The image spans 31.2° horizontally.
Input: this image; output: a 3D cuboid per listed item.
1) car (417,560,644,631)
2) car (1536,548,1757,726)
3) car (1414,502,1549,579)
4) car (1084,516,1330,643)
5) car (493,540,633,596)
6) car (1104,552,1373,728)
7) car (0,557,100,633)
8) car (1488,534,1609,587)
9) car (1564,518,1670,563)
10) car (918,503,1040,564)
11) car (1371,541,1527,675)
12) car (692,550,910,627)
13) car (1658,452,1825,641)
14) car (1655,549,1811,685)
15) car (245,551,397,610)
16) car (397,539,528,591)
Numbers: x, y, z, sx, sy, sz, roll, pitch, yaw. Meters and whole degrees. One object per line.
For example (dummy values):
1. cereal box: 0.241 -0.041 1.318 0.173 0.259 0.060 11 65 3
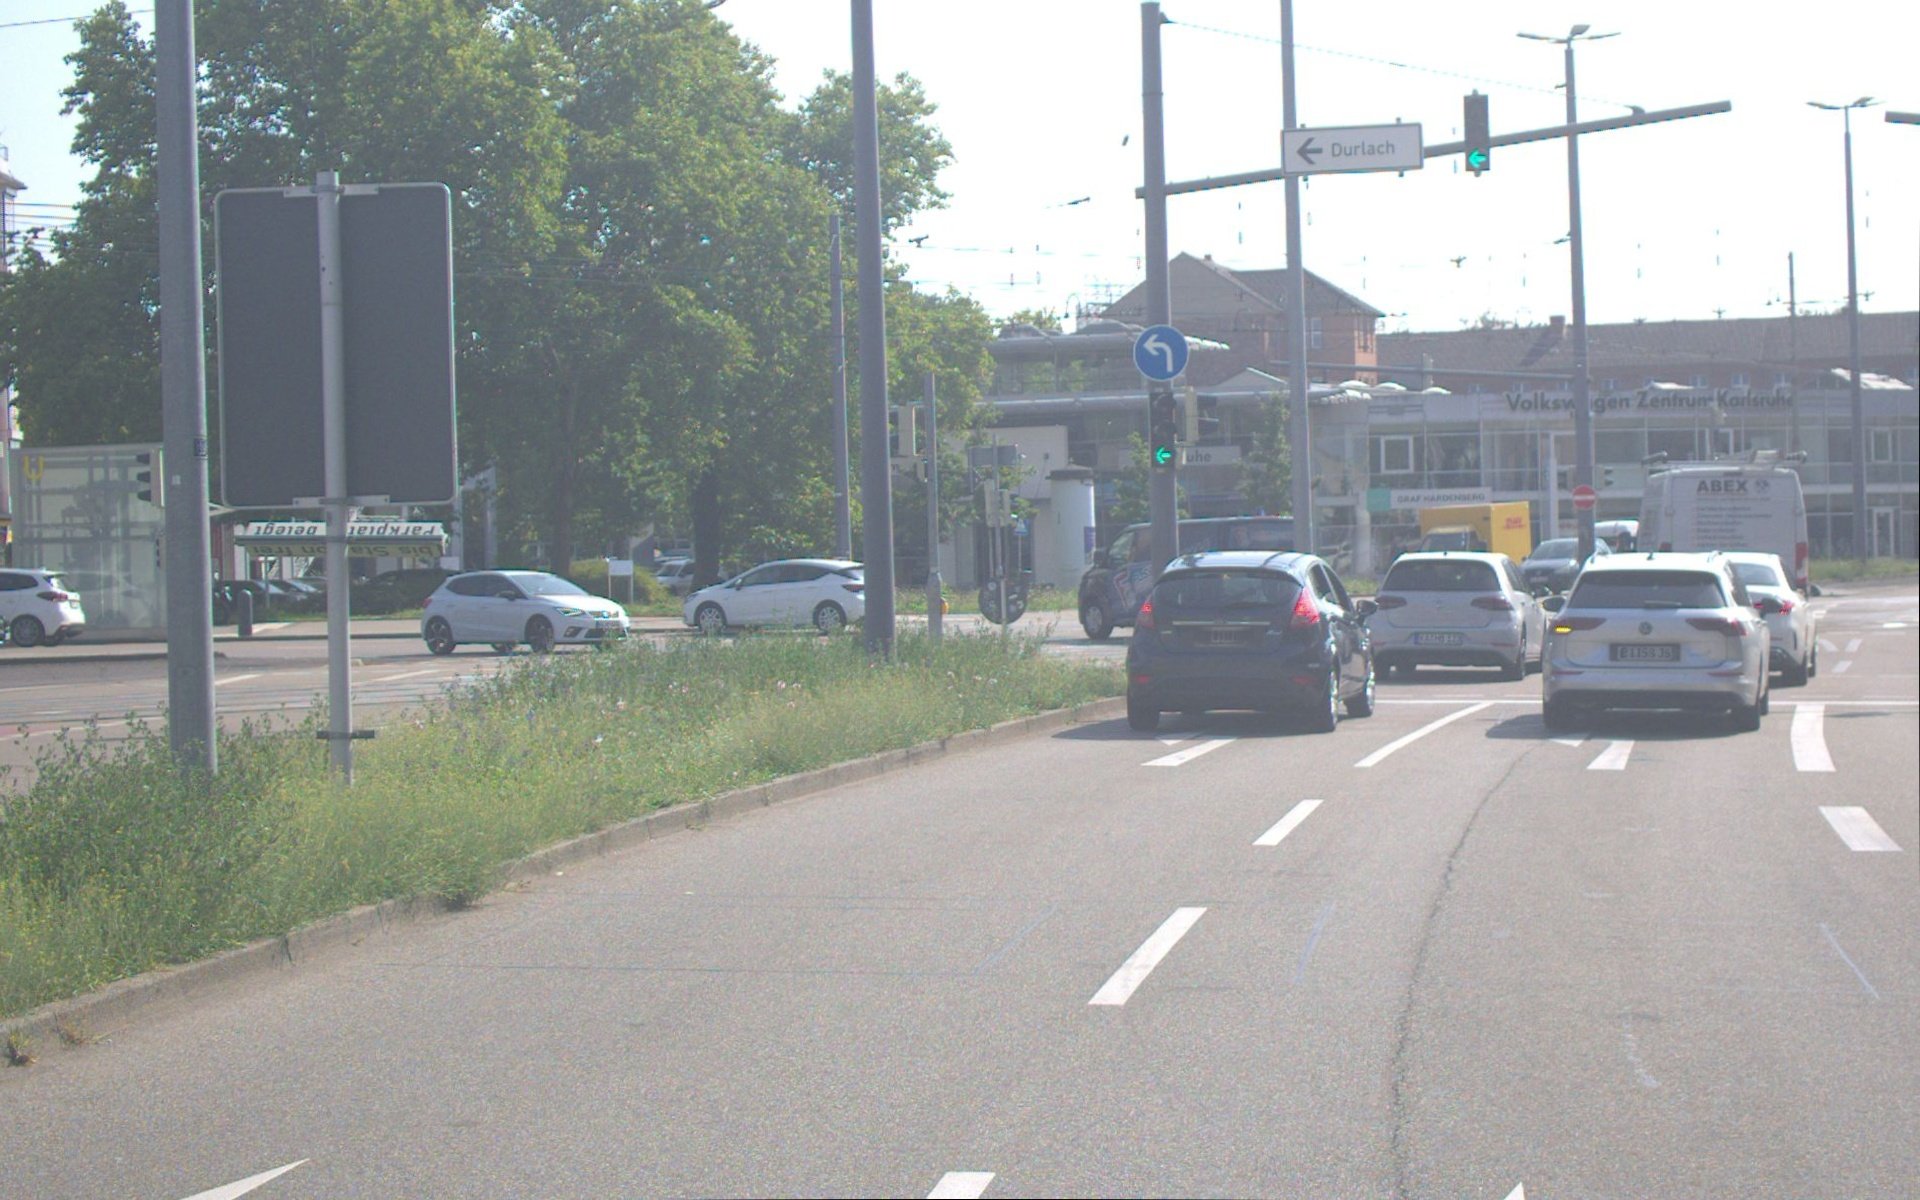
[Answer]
1. car: -7.491 -0.074 59.869 3.837 1.176 1.573 -1 1 35
2. car: 5.684 0.278 28.675 1.685 1.383 3.633 -1 0 10
3. car: 14.268 -1.642 93.830 1.997 2.007 4.656 -1 1 31
4. car: 4.029 -0.354 56.940 2.023 2.001 4.684 -1 1 -25
5. car: -11.706 -0.938 101.465 3.986 1.552 1.728 -1 1 -4
6. car: 2.404 0.301 28.830 1.702 1.363 3.961 -1 0 13
7. car: -19.526 -0.086 69.052 4.076 1.497 1.628 -1 0 3
8. car: 15.504 -1.050 90.377 1.898 1.320 4.126 -1 1 28
9. car: 19.799 -1.807 103.431 1.898 1.276 4.125 -1 1 29
10. car: 0.663 -2.331 119.762 3.988 2.006 2.000 -1 3 8
11. car: 5.634 0.061 39.318 1.490 1.410 3.646 -1 1 12
12. car: -3.115 -0.239 67.246 3.990 1.369 1.567 1 4 26
13. car: 11.104 -0.737 48.950 2.190 2.540 4.681 -1 0 12
14. car: 8.411 0.168 37.616 1.489 1.398 3.940 -1 0 10
15. car: -17.885 -0.546 96.340 3.986 1.552 1.728 -1 1 -4
16. car: -15.913 -1.122 110.020 3.986 1.552 1.728 -1 1 -4
